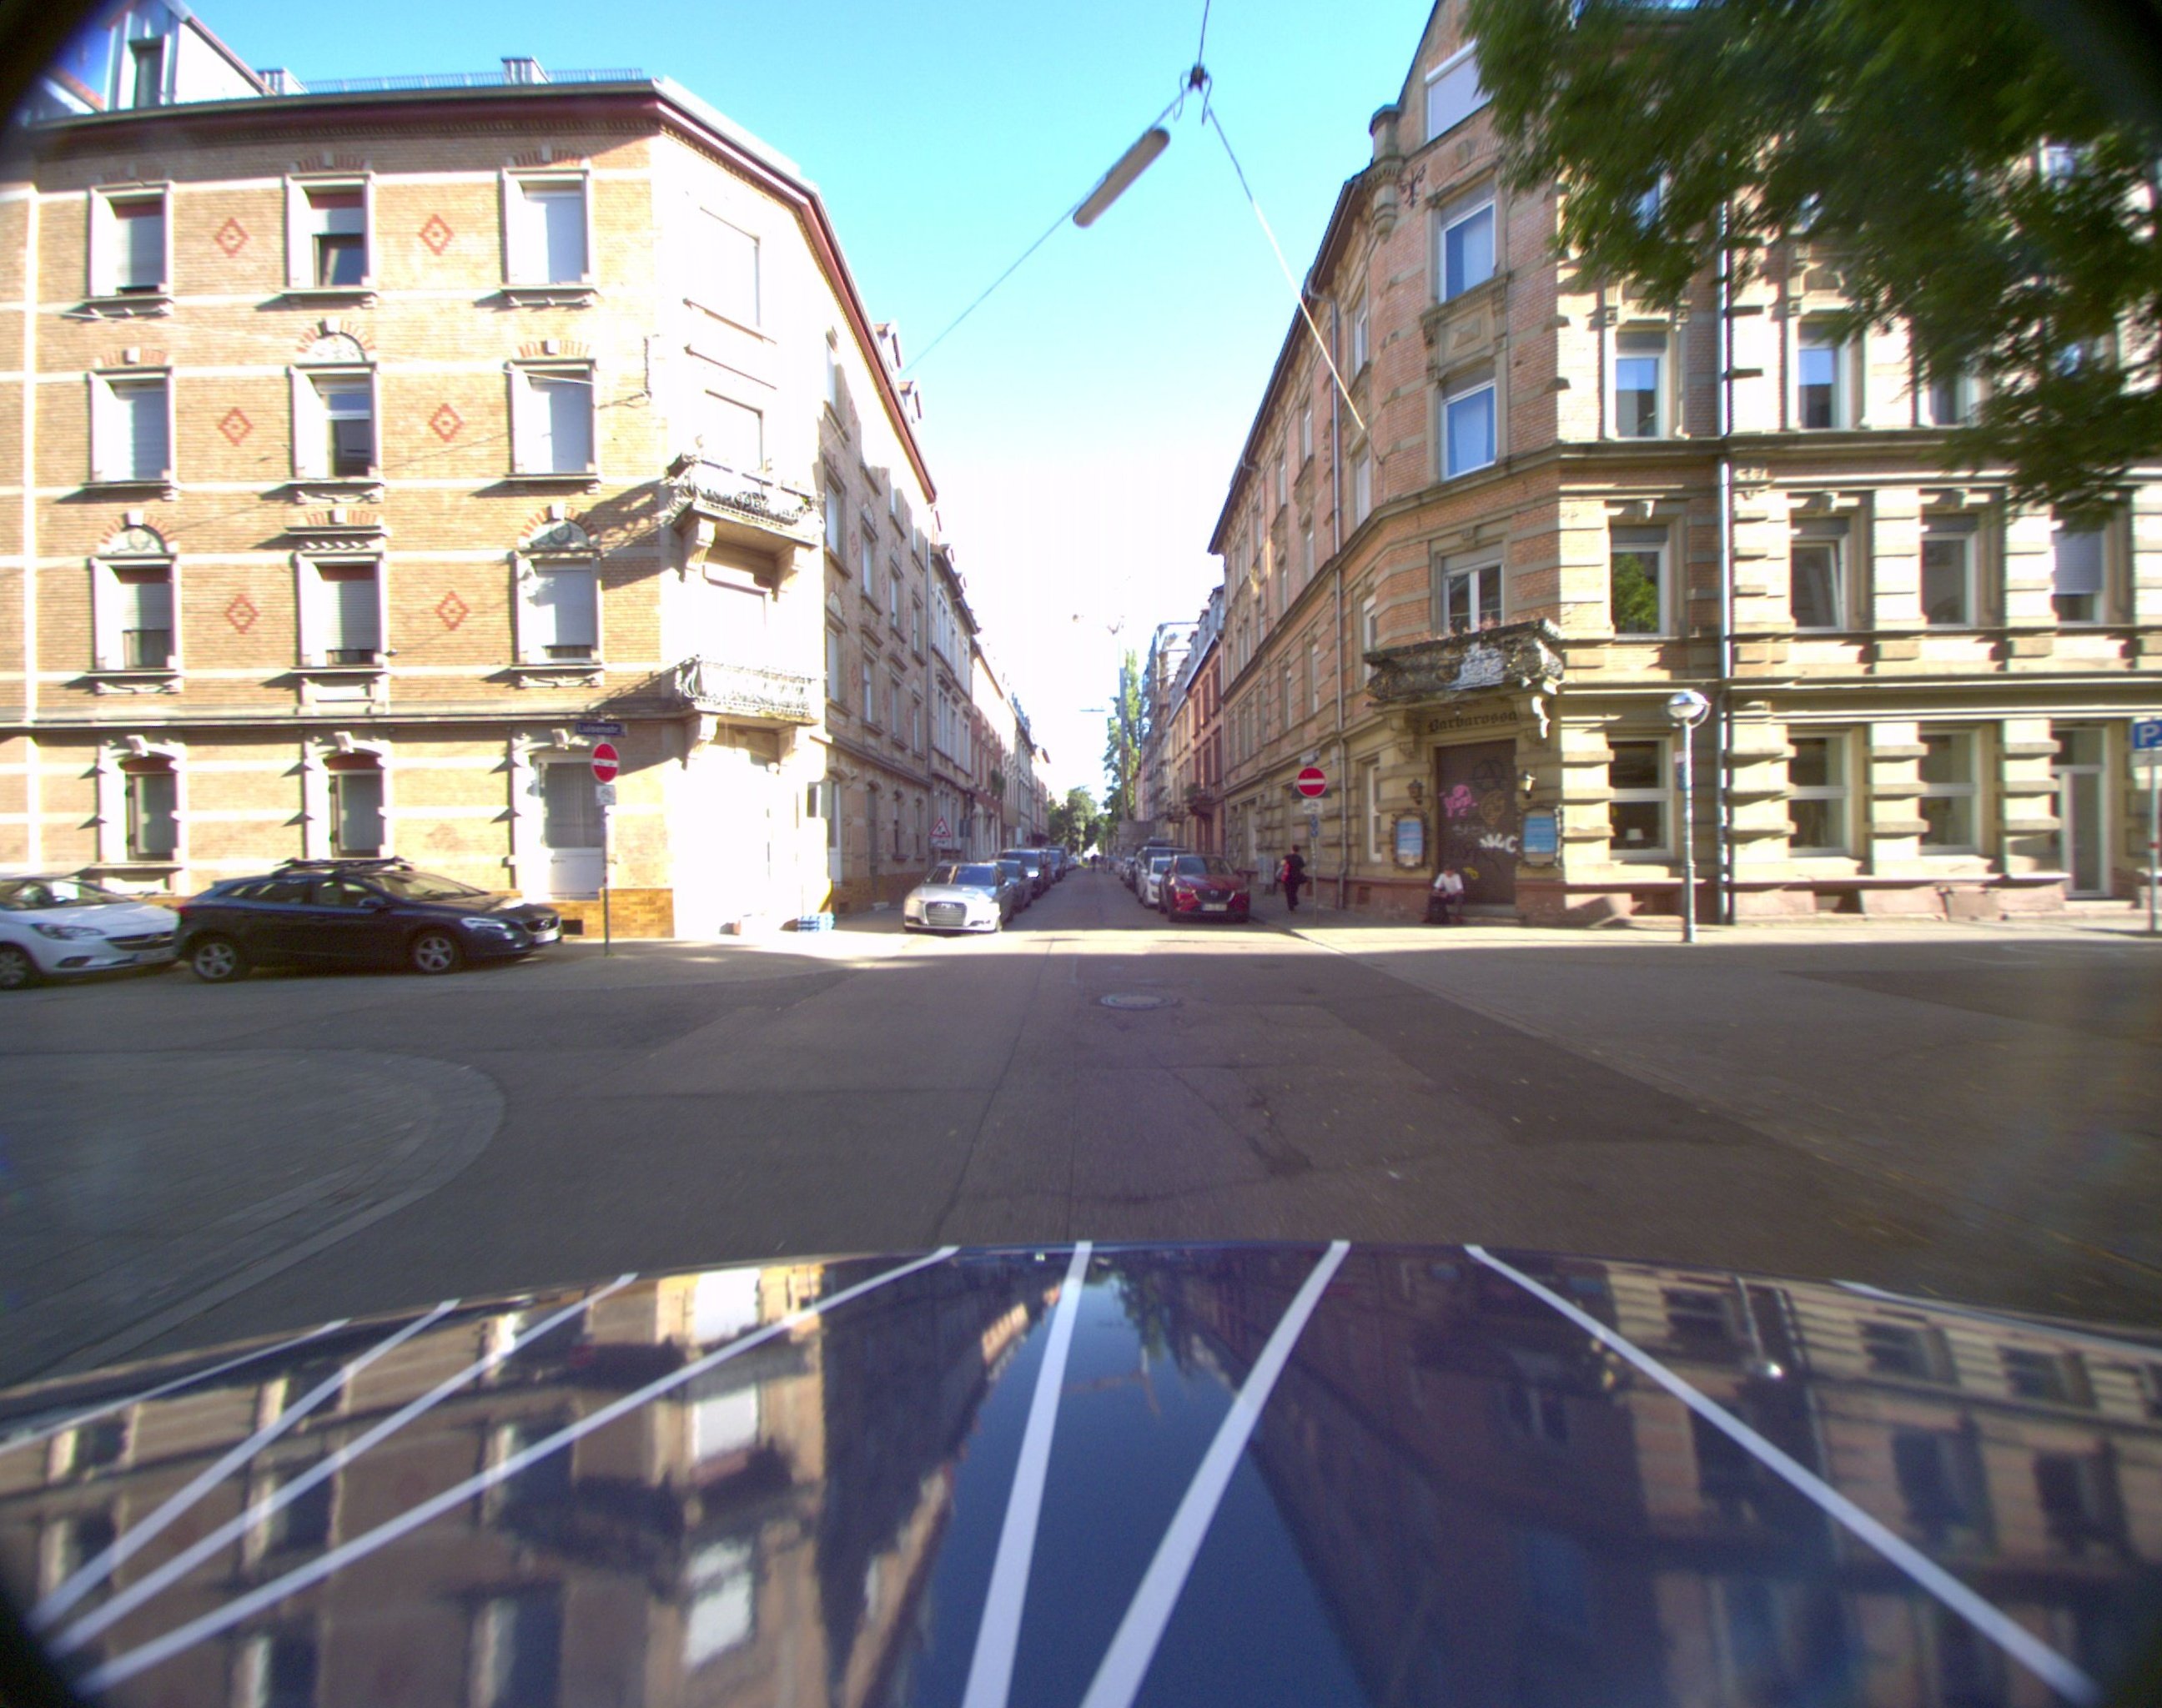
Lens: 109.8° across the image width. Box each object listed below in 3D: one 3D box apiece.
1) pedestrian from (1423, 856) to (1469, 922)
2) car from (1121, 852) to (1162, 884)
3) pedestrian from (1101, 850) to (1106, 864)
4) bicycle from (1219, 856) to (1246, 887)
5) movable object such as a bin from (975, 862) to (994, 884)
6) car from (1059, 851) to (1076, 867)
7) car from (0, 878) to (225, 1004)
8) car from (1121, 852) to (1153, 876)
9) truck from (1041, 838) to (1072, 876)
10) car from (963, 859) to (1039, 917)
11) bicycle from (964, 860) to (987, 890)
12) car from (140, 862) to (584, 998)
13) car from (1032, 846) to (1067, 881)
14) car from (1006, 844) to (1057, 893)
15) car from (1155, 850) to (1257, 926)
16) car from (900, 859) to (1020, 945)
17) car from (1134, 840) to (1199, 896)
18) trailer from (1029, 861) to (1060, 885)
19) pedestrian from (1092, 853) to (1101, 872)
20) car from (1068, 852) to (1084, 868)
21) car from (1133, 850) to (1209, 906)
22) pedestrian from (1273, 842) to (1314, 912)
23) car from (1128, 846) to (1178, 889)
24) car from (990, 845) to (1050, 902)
[{"bbox_3d":[6.877,0.657,14.311,0.667,1.170,0.749,-3,1,31],"label":"pedestrian"},{"bbox_3d":[2.974,0.663,37.983,1.703,1.306,4.000,-6,1,1],"label":"car"},{"bbox_3d":[2.648,0.328,90.969,0.594,1.634,0.813,0,1,1],"label":"pedestrian"},{"bbox_3d":[5.951,0.679,29.969,0.668,1.118,1.785,-5,0,1],"label":"bicycle"},{"bbox_3d":[-4.759,0.921,37.514,0.898,1.055,0.722,1,1,-1],"label":"movable object such as a bin"},{"bbox_3d":[-1.482,0.585,86.196,1.603,1.652,4.060,-4,0,1],"label":"car"},{"bbox_3d":[-14.613,1.157,10.343,3.997,1.431,1.589,-1,4,0],"label":"car"},{"bbox_3d":[3.400,0.570,46.667,1.678,1.410,4.000,-1,0,0],"label":"car"},{"bbox_3d":[-1.853,0.213,58.361,2.154,2.642,6.252,2,0,-2],"label":"truck"},{"bbox_3d":[-2.265,0.924,22.376,1.670,1.470,3.888,-2,0,1],"label":"car"},{"bbox_3d":[-4.718,0.918,34.132,0.728,1.296,1.692,1,1,1],"label":"bicycle"},{"bbox_3d":[-9.814,0.984,10.721,4.253,1.463,1.767,-2,5,-5],"label":"car"},{"bbox_3d":[-1.928,0.547,47.745,1.849,1.972,4.576,-4,0,1],"label":"car"},{"bbox_3d":[-2.226,0.598,35.269,1.836,2.002,4.741,-4,0,1],"label":"car"},{"bbox_3d":[2.805,0.702,17.899,1.727,1.472,4.089,-4,0,1],"label":"car"},{"bbox_3d":[-2.466,0.930,16.587,1.710,1.450,4.511,-4,0,1],"label":"car"},{"bbox_3d":[3.033,0.468,27.917,1.897,1.774,4.608,-4,0,2],"label":"car"},{"bbox_3d":[-2.001,1.027,42.621,1.508,1.106,3.039,-6,0,-1],"label":"trailer"},{"bbox_3d":[1.405,0.774,70.458,0.740,1.743,0.997,-2,1,2],"label":"pedestrian"},{"bbox_3d":[-0.499,0.569,78.953,1.525,1.525,3.463,3,0,1],"label":"car"},{"bbox_3d":[2.550,0.645,22.426,1.678,1.412,3.874,-4,0,0],"label":"car"},{"bbox_3d":[4.957,0.521,17.724,0.668,1.571,0.759,-3,1,0],"label":"pedestrian"},{"bbox_3d":[3.034,0.507,32.852,1.792,1.615,4.608,-4,0,2],"label":"car"},{"bbox_3d":[-2.301,0.700,29.675,1.774,1.949,4.264,-4,0,1],"label":"car"}]
